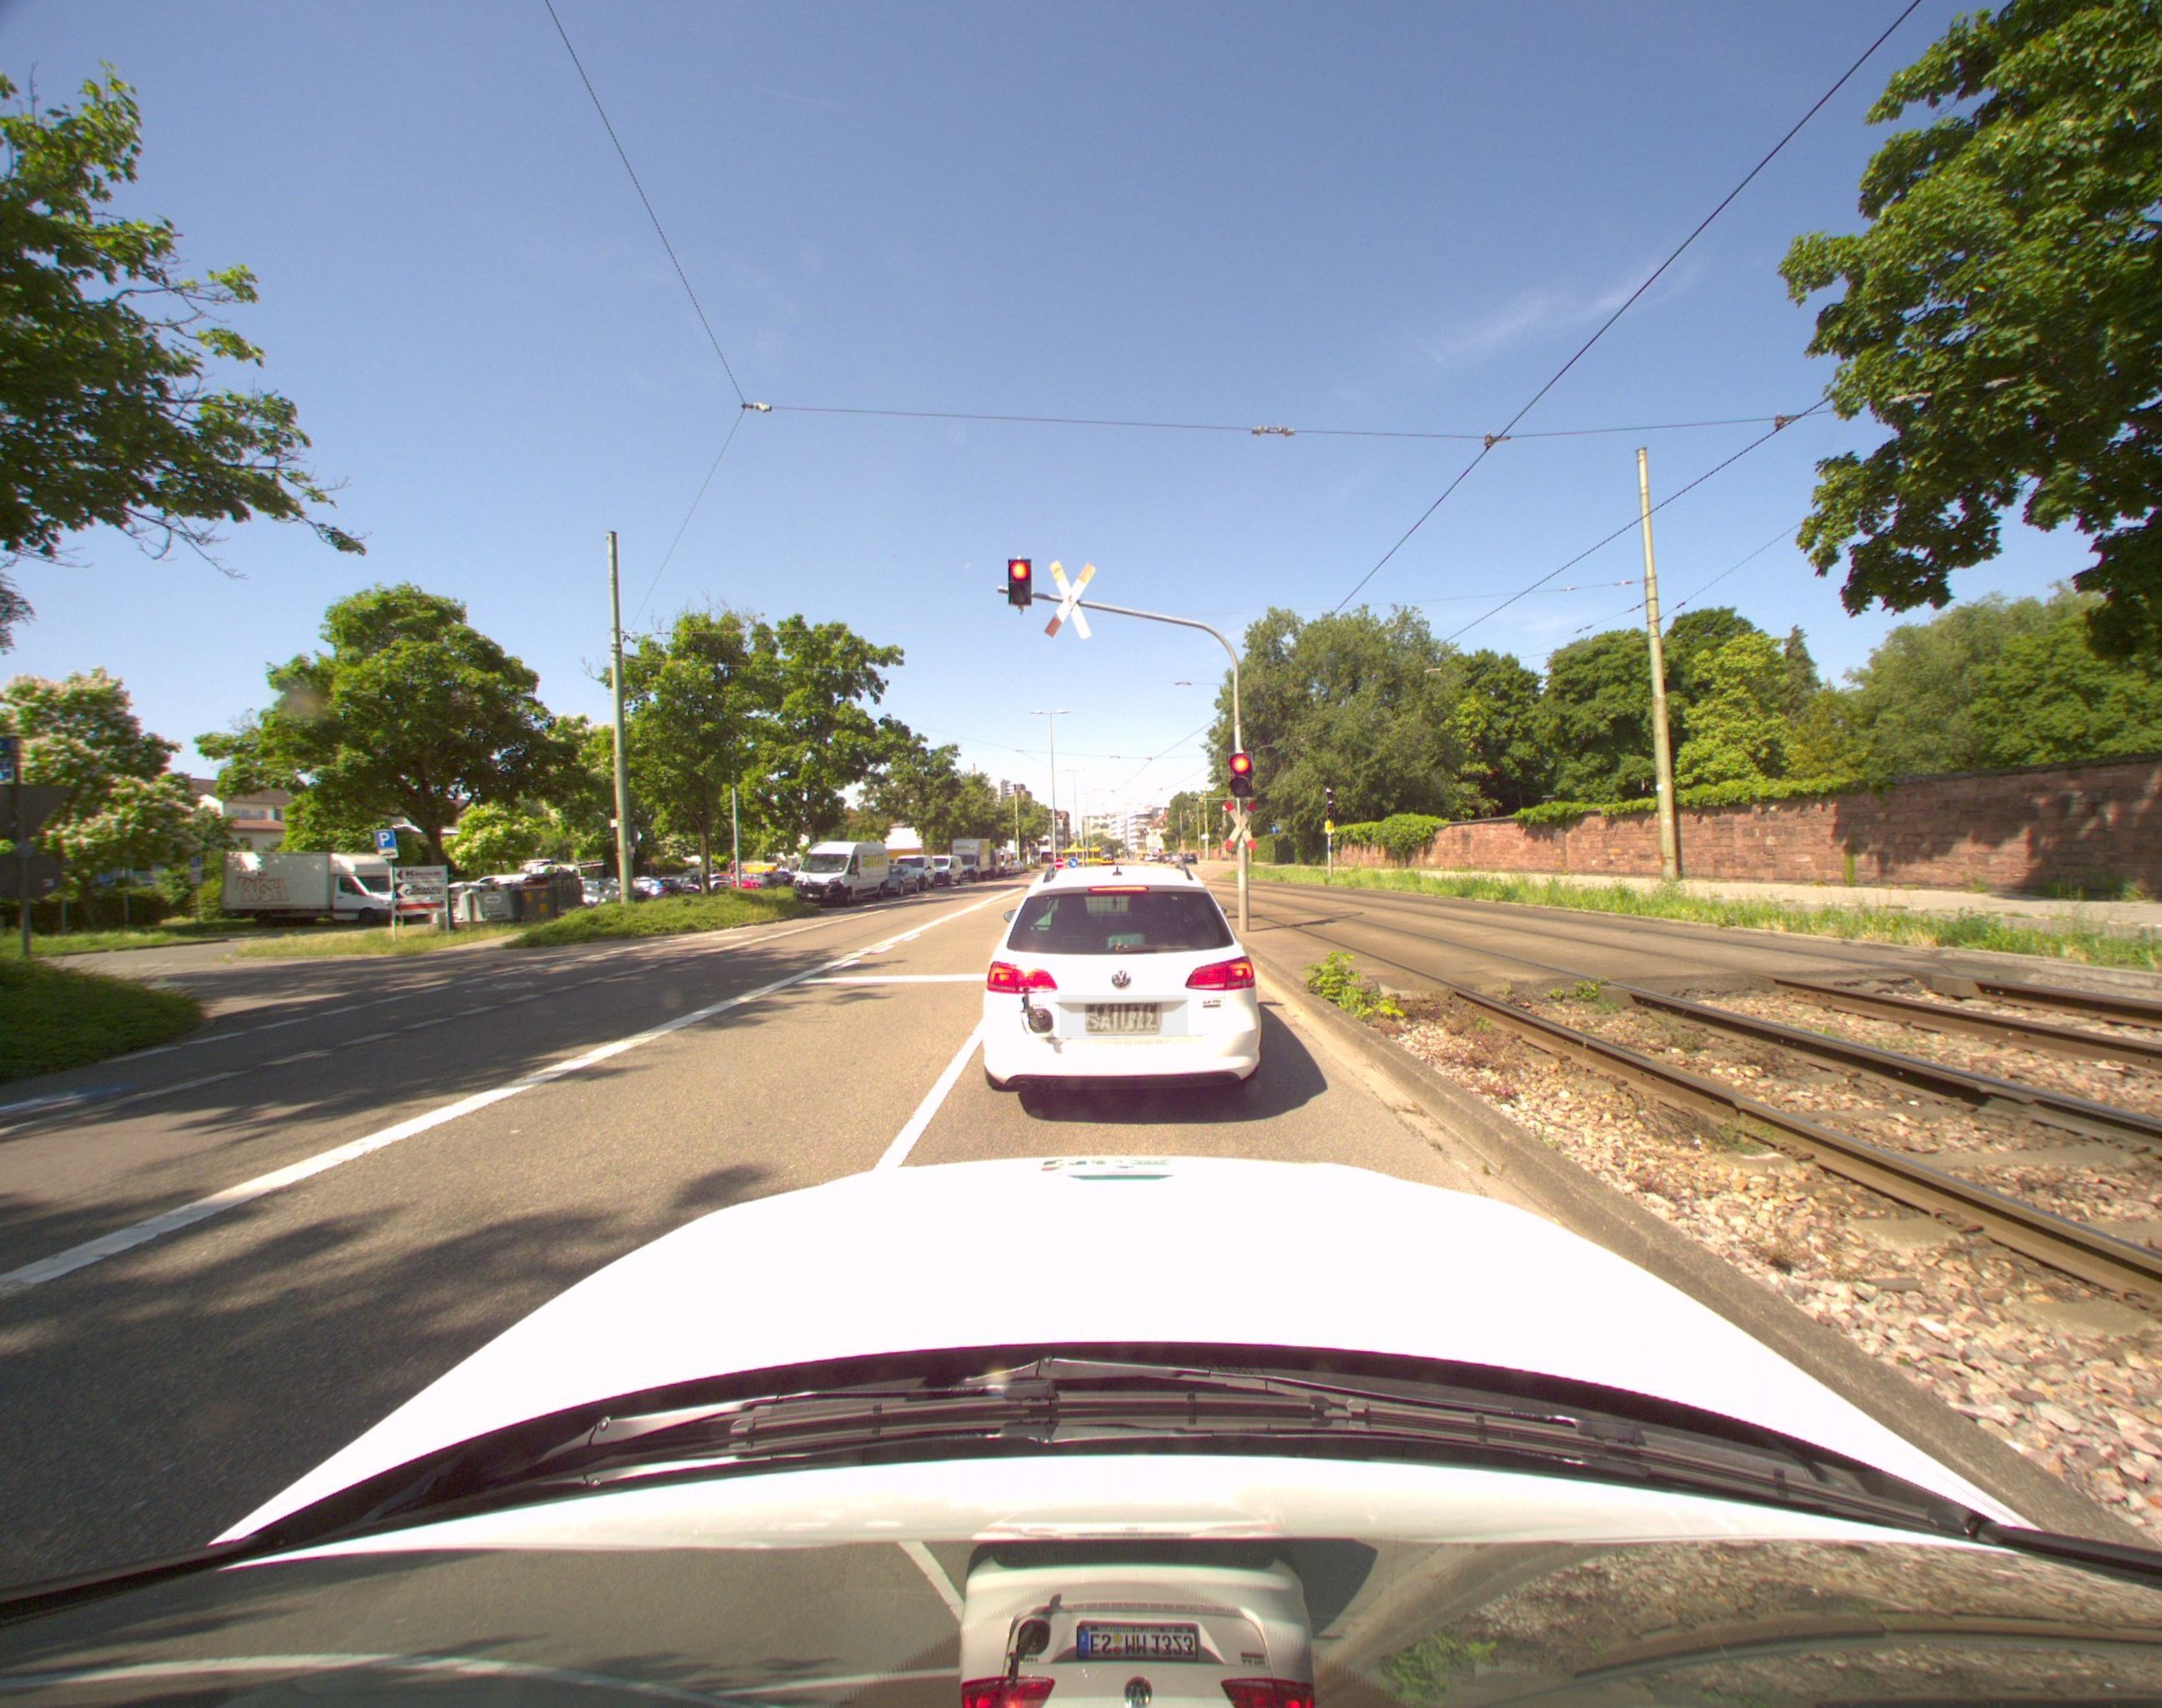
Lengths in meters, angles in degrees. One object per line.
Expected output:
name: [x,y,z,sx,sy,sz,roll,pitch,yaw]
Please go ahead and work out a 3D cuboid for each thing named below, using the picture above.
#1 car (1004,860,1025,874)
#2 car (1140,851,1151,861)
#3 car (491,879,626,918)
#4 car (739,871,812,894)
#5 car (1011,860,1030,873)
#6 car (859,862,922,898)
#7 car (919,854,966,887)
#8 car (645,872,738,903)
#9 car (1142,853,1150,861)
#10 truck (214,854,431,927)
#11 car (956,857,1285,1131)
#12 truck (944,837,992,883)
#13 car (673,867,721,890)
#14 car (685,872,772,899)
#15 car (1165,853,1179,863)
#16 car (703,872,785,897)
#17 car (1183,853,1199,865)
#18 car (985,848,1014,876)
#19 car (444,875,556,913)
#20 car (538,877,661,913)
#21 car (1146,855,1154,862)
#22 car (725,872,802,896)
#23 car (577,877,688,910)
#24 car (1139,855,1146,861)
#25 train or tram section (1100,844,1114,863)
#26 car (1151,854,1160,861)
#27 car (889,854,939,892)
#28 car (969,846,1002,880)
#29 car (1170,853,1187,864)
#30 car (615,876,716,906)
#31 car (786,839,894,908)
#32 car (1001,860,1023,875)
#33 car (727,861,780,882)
car: [-7.416,1.486,91.696,1.837,1.433,4.039,-3,0,2]
car: [16.753,0.552,212.096,2.454,2.499,5.912,0,-1,1]
car: [-20.003,1.690,31.314,3.974,1.225,1.771,-3,0,0]
car: [-19.642,1.838,52.457,3.969,1.225,1.773,-3,0,4]
car: [-7.132,1.467,96.958,1.774,1.433,4.039,-3,0,2]
car: [-9.073,1.189,39.083,1.837,1.516,4.199,-3,0,2]
car: [-8.819,1.016,52.340,1.836,1.960,5.137,-3,0,2]
car: [-20.293,1.721,42.534,3.969,1.350,1.773,-3,0,4]
car: [15.434,0.788,192.725,1.685,1.812,3.455,0,-1,1]
truck: [-32.470,1.509,35.019,7.119,3.019,2.231,0,0,-1]
car: [0.248,0.759,6.335,1.762,1.446,3.913,0,0,1]
truck: [-8.347,0.416,60.737,2.348,3.122,6.892,-3,0,1]
car: [-34.356,2.169,72.922,3.412,1.876,1.552,-3,0,-1]
car: [-19.415,1.722,44.933,3.969,1.264,1.773,-3,0,4]
car: [13.917,0.637,124.711,1.855,1.513,3.913,0,0,0]
car: [-19.651,1.776,47.535,3.969,1.225,1.773,-3,0,4]
car: [13.116,0.587,97.280,1.737,1.388,3.920,-1,0,6]
car: [-7.560,0.730,76.183,1.836,2.494,5.860,-3,0,2]
car: [-32.193,2.187,45.250,4.683,2.014,1.997,0,-1,-4]
car: [-19.906,1.692,33.794,3.974,1.225,1.771,-3,0,0]
car: [15.186,0.997,179.322,1.576,1.346,3.455,0,-1,1]
car: [-19.516,1.814,50.129,3.969,1.225,1.773,-3,0,4]
car: [-20.101,1.743,36.618,3.969,1.225,1.773,-3,0,4]
car: [17.275,1.064,228.376,1.986,1.596,4.002,0,-1,2]
train or tram section: [4.734,-0.108,145.885,2.292,3.253,11.279,0,-1,2]
car: [14.680,0.776,160.995,1.576,1.346,3.455,0,-1,1]
car: [-9.282,1.005,45.666,1.839,1.937,5.189,-3,0,-2]
car: [-7.963,0.743,68.385,1.836,2.668,5.006,-3,0,2]
car: [13.156,0.553,110.285,1.855,1.416,4.325,0,0,0]
car: [-20.284,1.794,39.851,3.969,1.225,1.773,-3,0,4]
car: [-9.552,0.691,32.923,2.049,2.501,6.315,0,0,4]
car: [-7.263,1.400,85.812,1.837,1.433,4.039,-3,0,2]
car: [-31.321,1.678,77.983,4.249,2.014,1.997,0,-1,-5]
